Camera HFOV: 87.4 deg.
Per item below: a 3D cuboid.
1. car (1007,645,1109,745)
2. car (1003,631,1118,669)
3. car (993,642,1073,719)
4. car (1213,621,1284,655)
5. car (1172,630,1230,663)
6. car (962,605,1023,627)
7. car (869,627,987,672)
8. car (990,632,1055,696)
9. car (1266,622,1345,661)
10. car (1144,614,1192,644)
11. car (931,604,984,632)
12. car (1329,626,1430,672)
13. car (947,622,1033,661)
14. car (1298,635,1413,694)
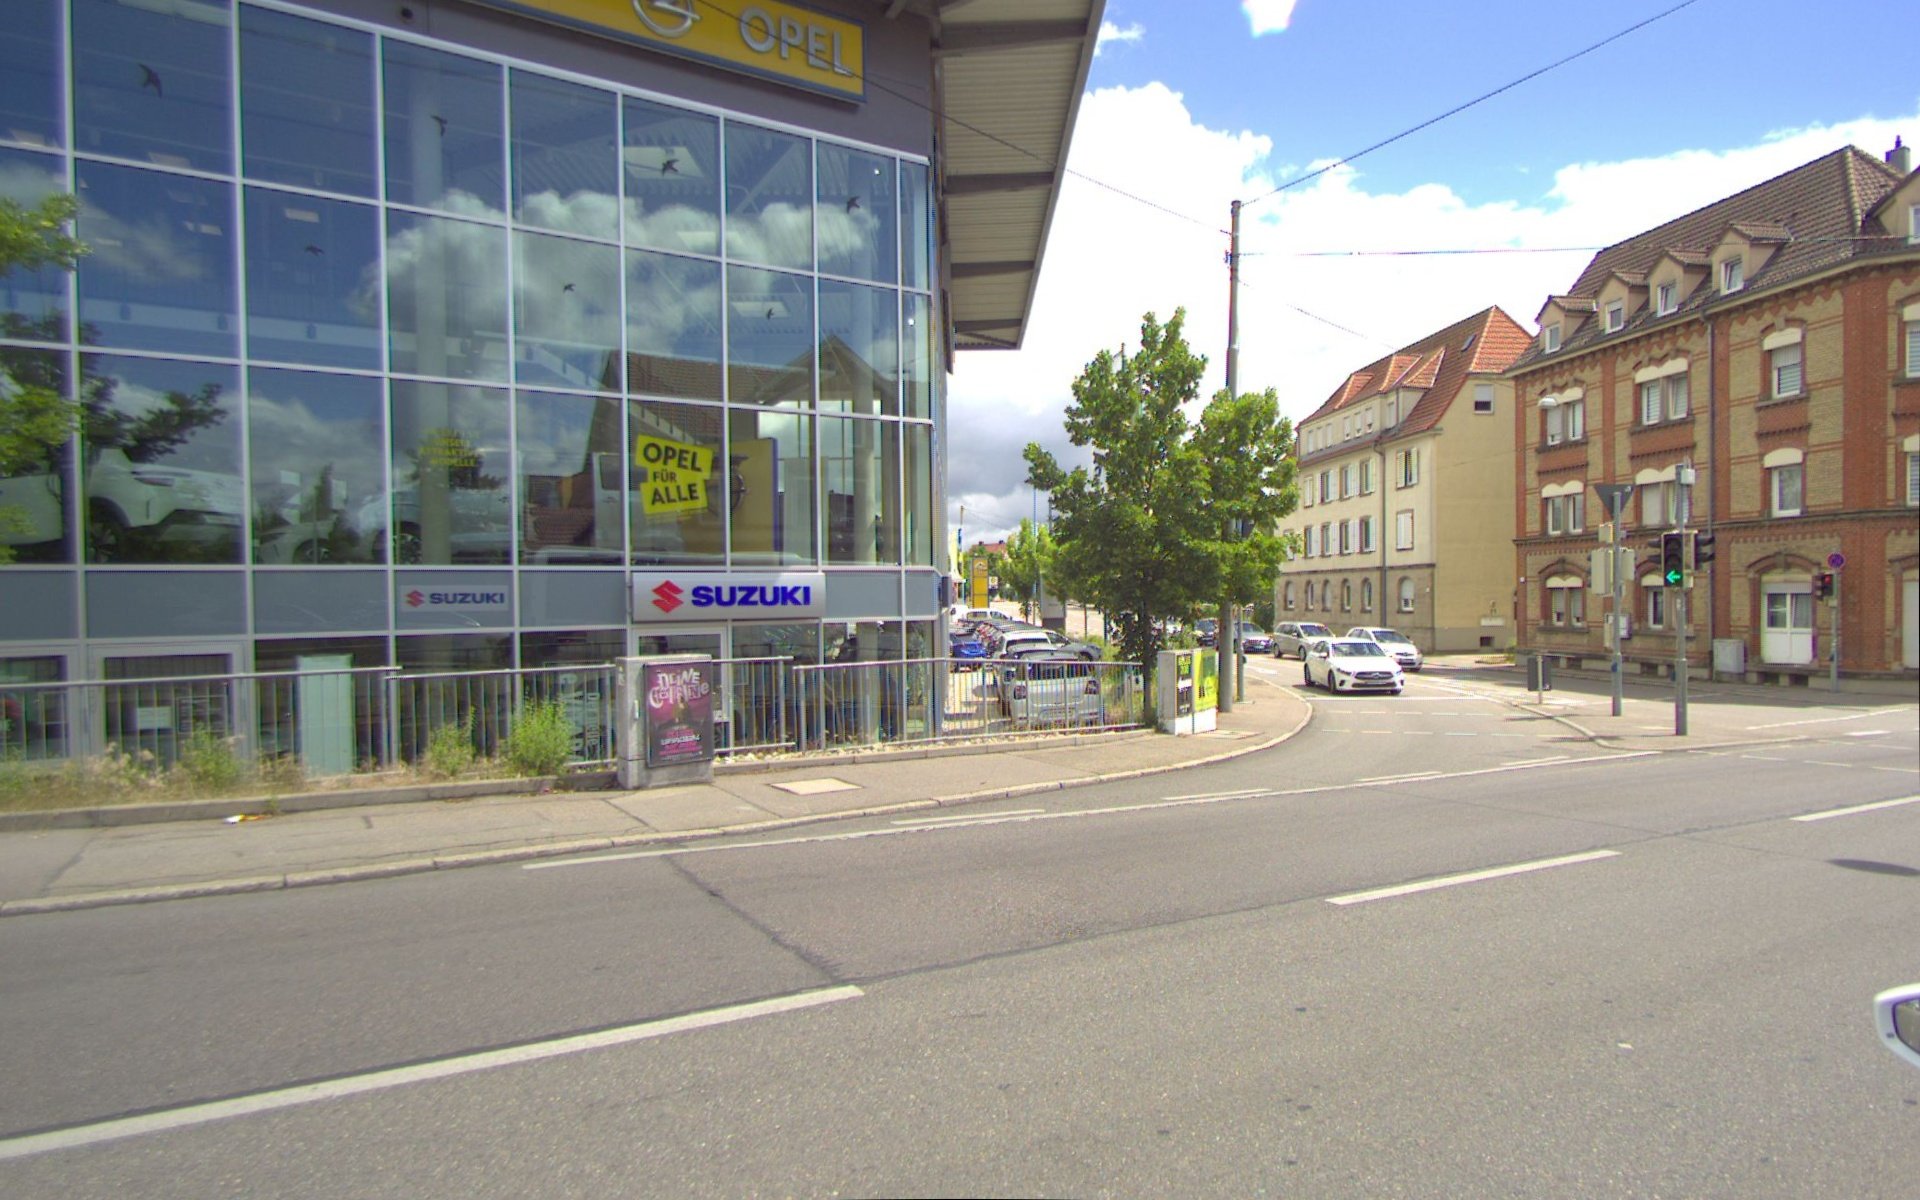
[{"bbox_3d":[1.823,1.756,19.609,1.720,1.596,3.688,3,-1,2],"label":"car"},{"bbox_3d":[3.584,1.796,36.270,3.921,1.202,1.818,2,-1,0],"label":"car"},{"bbox_3d":[1.656,1.841,23.758,1.487,1.543,3.792,1,-1,-2],"label":"car"},{"bbox_3d":[14.343,1.878,50.167,1.963,1.539,3.996,2,-1,-7],"label":"car"},{"bbox_3d":[13.227,2.521,55.368,1.961,1.607,4.345,1,0,-2],"label":"car"},{"bbox_3d":[2.102,1.047,65.669,3.921,1.311,1.818,2,-1,0],"label":"car"},{"bbox_3d":[-1.138,1.758,36.307,3.919,1.478,1.605,1,-1,15],"label":"car"},{"bbox_3d":[1.703,1.743,28.152,1.487,1.596,3.414,1,-1,-2],"label":"car"},{"bbox_3d":[15.076,1.781,44.037,1.715,1.539,3.996,2,-1,-7],"label":"car"},{"bbox_3d":[13.055,1.798,63.273,1.908,1.743,3.998,2,-1,-4],"label":"car"},{"bbox_3d":[-0.130,1.390,75.611,2.201,2.040,4.927,1,-1,24],"label":"car"},{"bbox_3d":[15.431,1.764,37.180,1.670,1.517,3.996,2,-1,-7],"label":"car"},{"bbox_3d":[1.265,1.826,45.038,1.974,1.599,4.476,2,-2,-26],"label":"car"},{"bbox_3d":[10.829,1.734,27.835,1.825,1.466,4.394,0,-2,5],"label":"car"}]
